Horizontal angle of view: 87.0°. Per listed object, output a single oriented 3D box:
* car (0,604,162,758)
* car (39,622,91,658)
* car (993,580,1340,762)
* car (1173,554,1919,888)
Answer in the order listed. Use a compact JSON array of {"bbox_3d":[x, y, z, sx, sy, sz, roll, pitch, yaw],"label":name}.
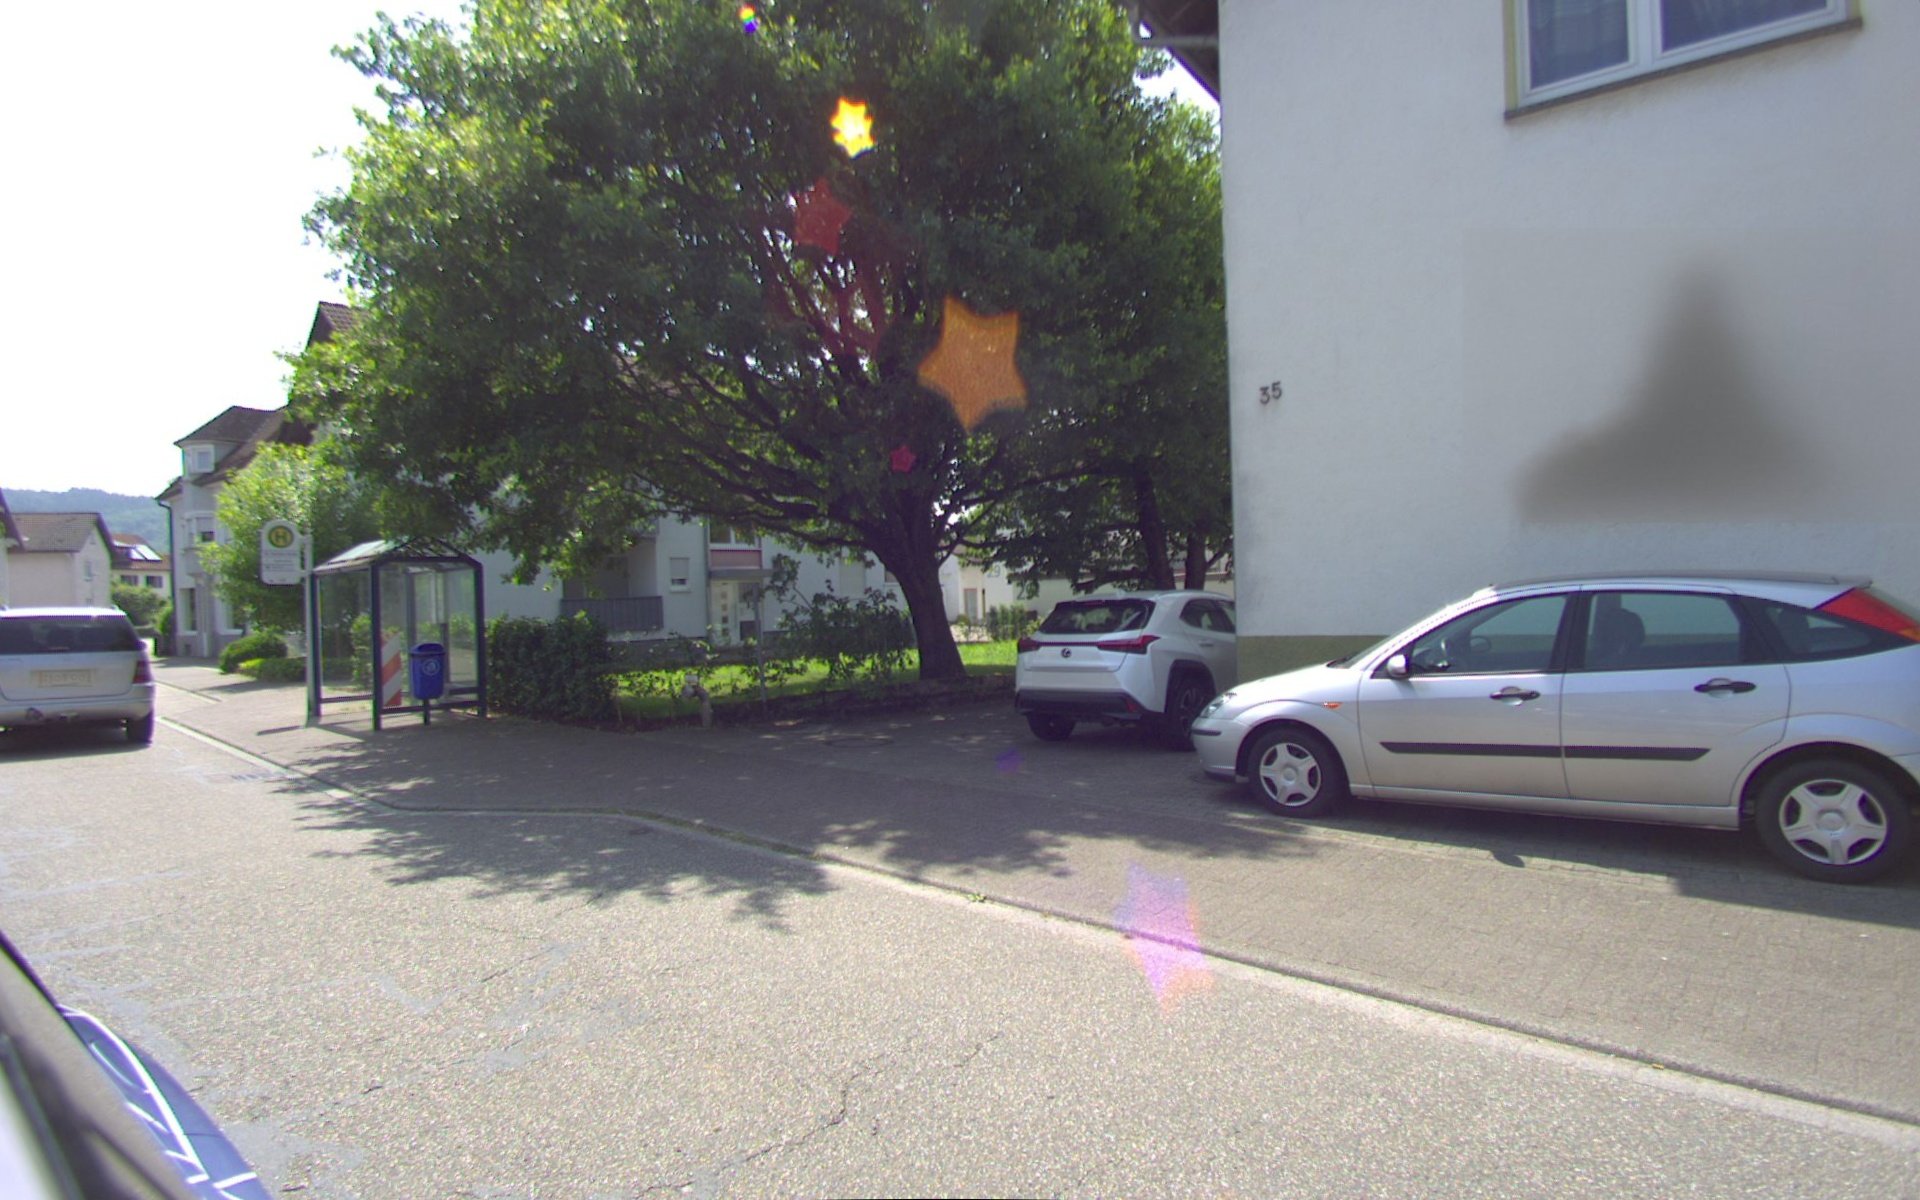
[{"bbox_3d":[-12.259,0.995,13.616,4.332,1.780,1.864,-2,-2,44],"label":"car"},{"bbox_3d":[-44.887,1.992,50.727,1.755,1.635,4.108,-2,1,-44],"label":"car"},{"bbox_3d":[2.356,0.646,10.759,1.773,1.550,4.115,-2,-2,42],"label":"car"},{"bbox_3d":[3.534,0.549,6.045,4.053,1.445,1.760,-2,0,41],"label":"car"}]
